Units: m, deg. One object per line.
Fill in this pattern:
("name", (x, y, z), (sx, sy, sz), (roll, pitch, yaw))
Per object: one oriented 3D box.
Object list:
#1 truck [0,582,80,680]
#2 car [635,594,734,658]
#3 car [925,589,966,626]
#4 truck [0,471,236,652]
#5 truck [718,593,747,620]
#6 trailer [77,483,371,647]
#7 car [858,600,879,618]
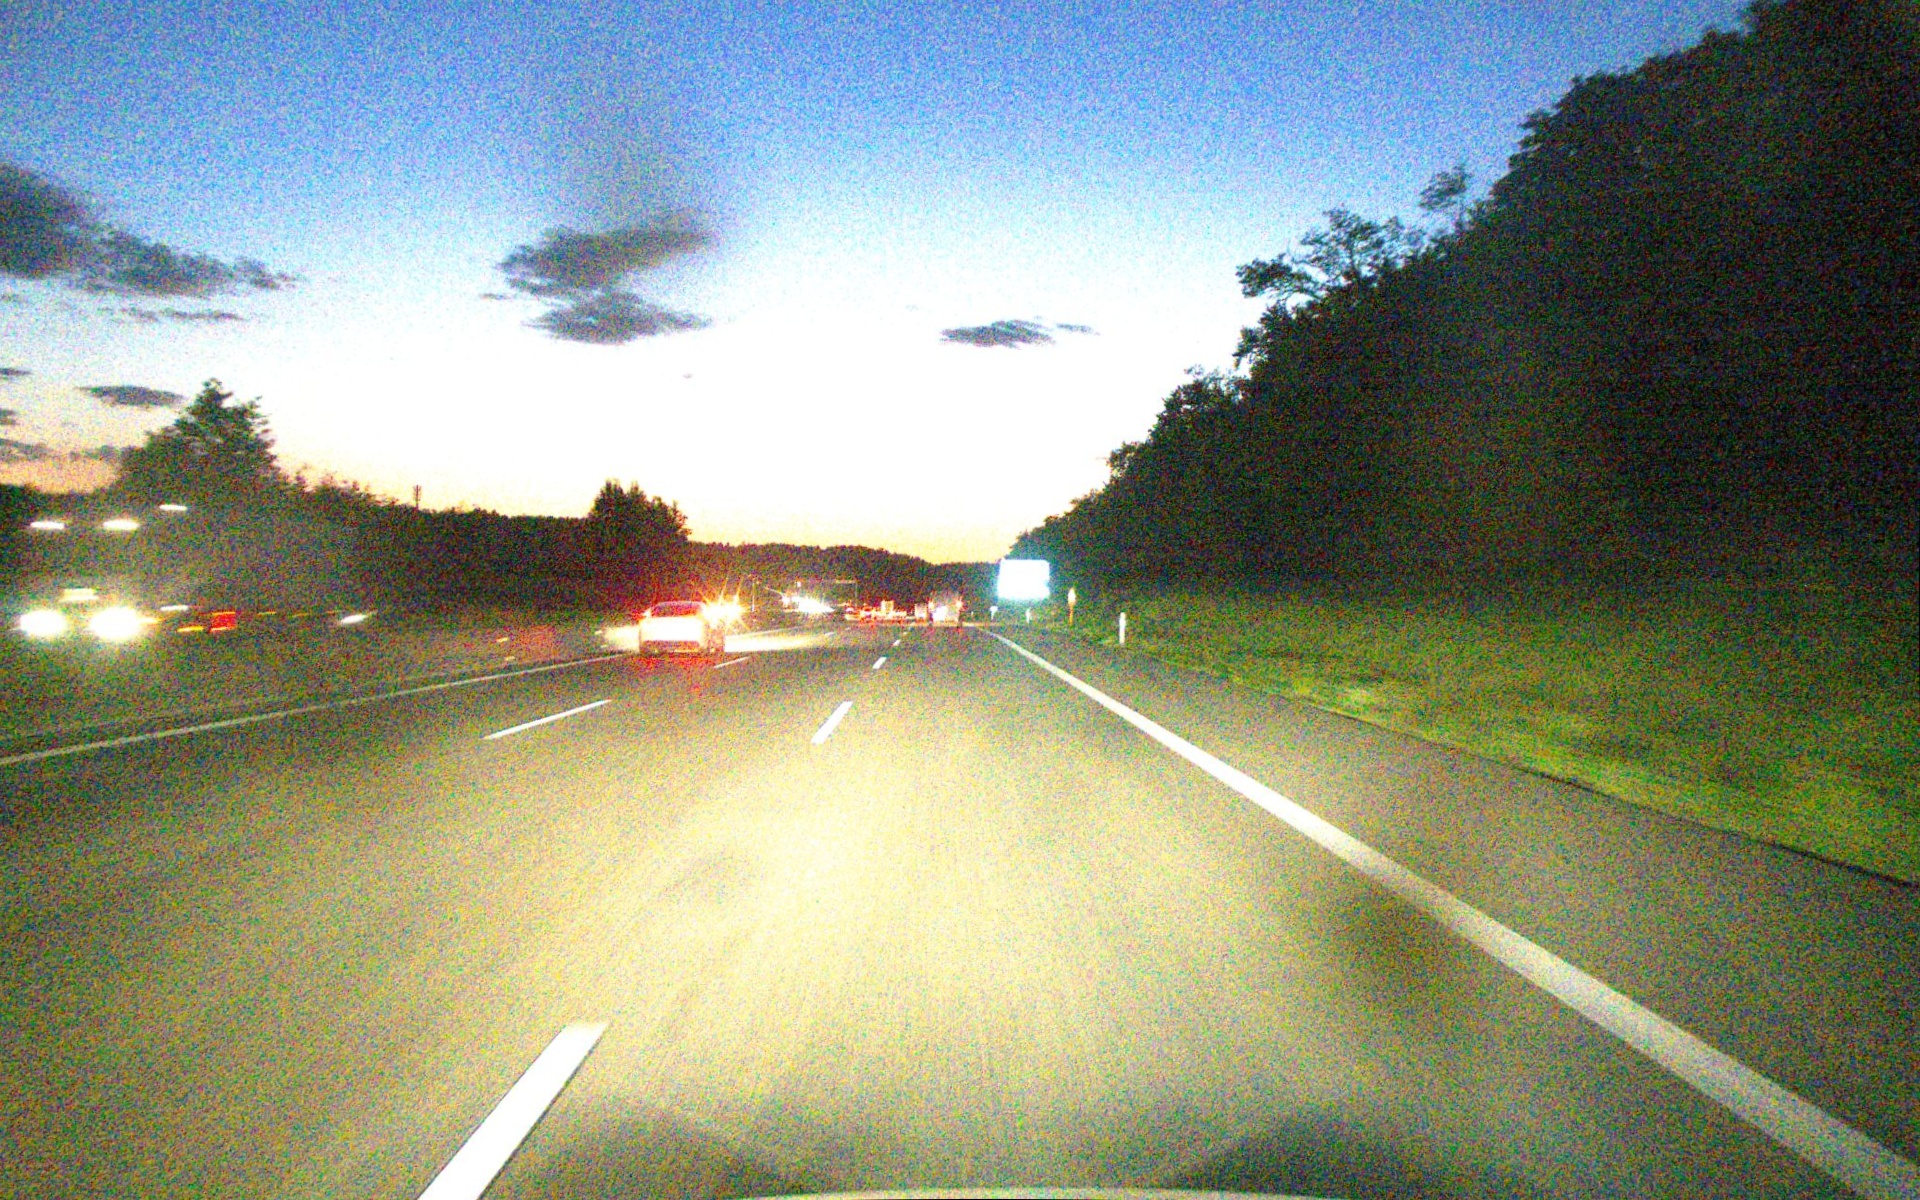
("truck", (-18.646, 0.558, 30.796), (1.993, 1.787, 4.762), (1, 0, -1))
("car", (-7.177, 0.637, 43.616), (1.743, 1.513, 5.253), (2, 0, -1))
("car", (-0.813, 0.404, 95.489), (2.151, 1.989, 4.764), (-2, 0, 1))
("truck", (-22.666, -0.971, 44.756), (3.258, 4.511, 6.706), (0, 0, -1))
("truck", (-24.663, 0.672, 179.568), (2.152, 2.773, 7.623), (2, 0, -1))
("trailer", (-22.776, -0.989, 52.556), (3.257, 4.511, 14.021), (0, 0, -1))
("car", (-10.638, 0.991, 192.562), (2.152, 1.989, 4.633), (2, 0, -1))
